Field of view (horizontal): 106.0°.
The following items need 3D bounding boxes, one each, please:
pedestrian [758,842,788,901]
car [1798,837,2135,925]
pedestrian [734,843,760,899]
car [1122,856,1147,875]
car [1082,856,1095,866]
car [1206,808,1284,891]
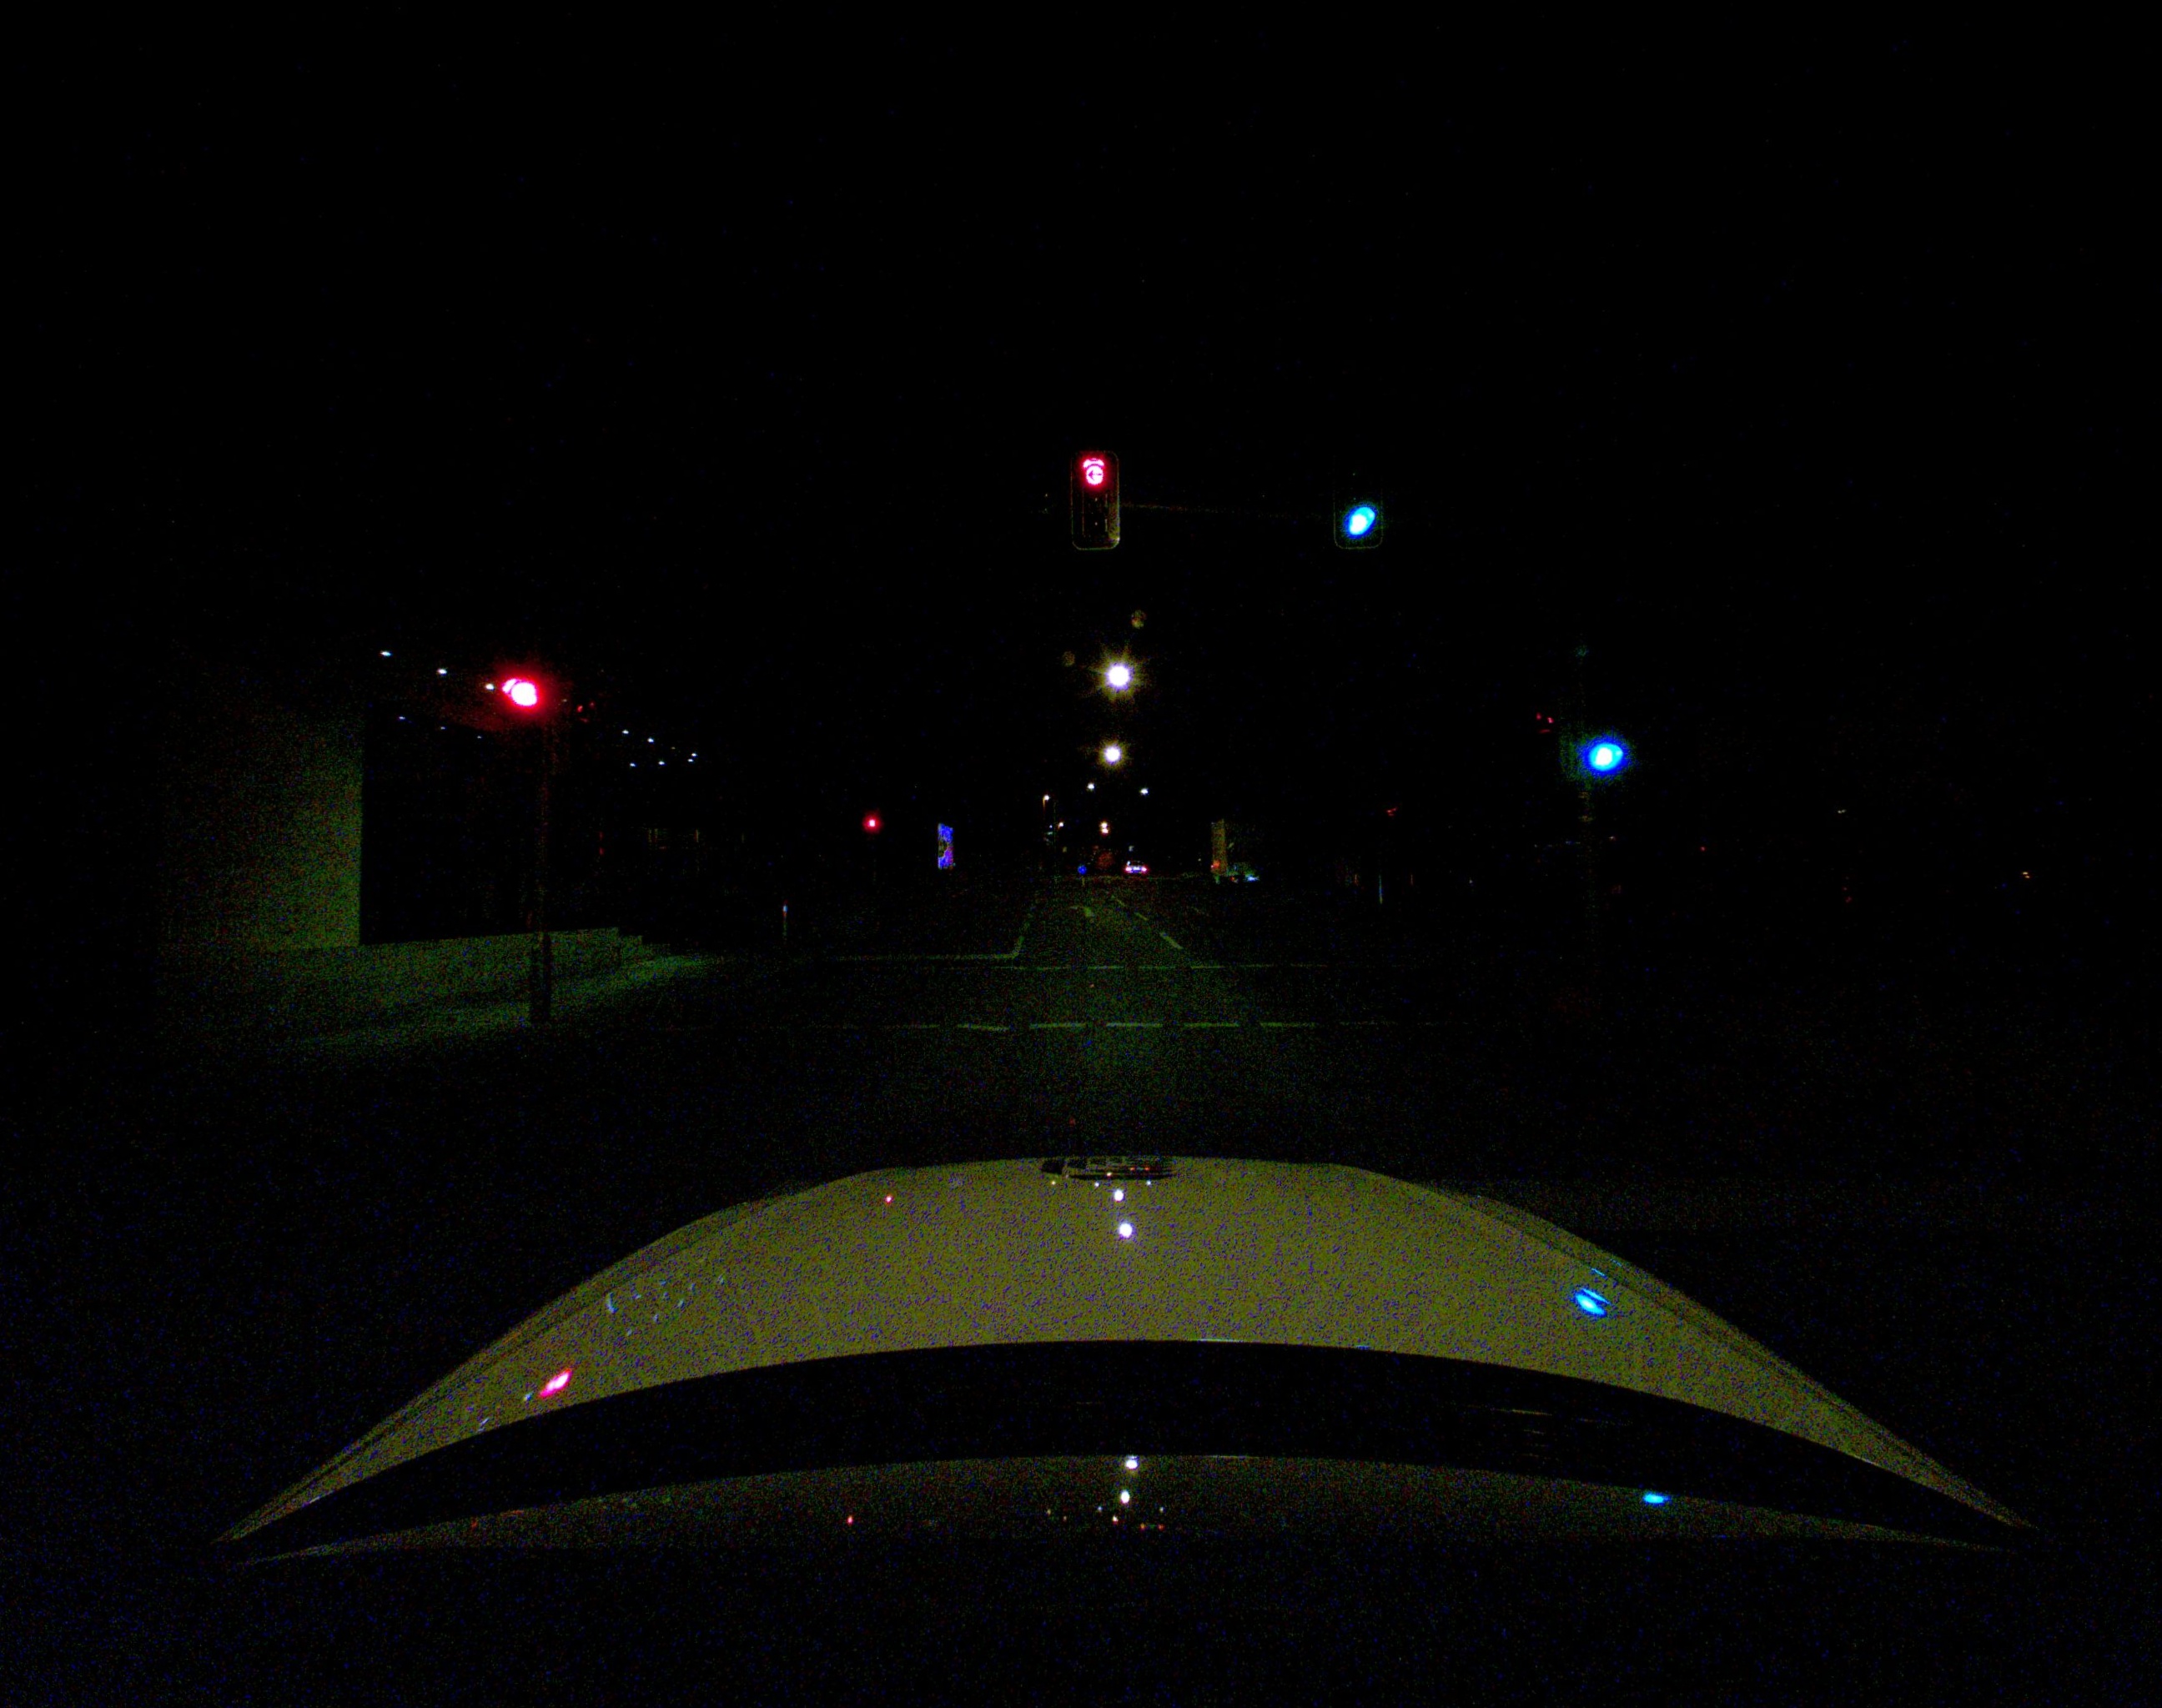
[{"bbox_3d":[-9.430,0.537,24.979,0.568,1.778,0.737,1,-1,1],"label":"pedestrian"},{"bbox_3d":[17.458,0.564,16.290,4.342,1.560,1.807,-2,-3,8],"label":"car"},{"bbox_3d":[-10.598,0.534,25.860,0.568,1.731,0.544,0,-1,1],"label":"pedestrian"},{"bbox_3d":[4.289,0.950,65.800,1.770,1.486,3.999,0,-1,0],"label":"car"},{"bbox_3d":[1.252,1.168,134.574,1.901,1.557,3.906,0,-1,2],"label":"car"},{"bbox_3d":[6.761,-0.146,34.222,2.287,3.093,5.845,-2,-1,3],"label":"car"}]
